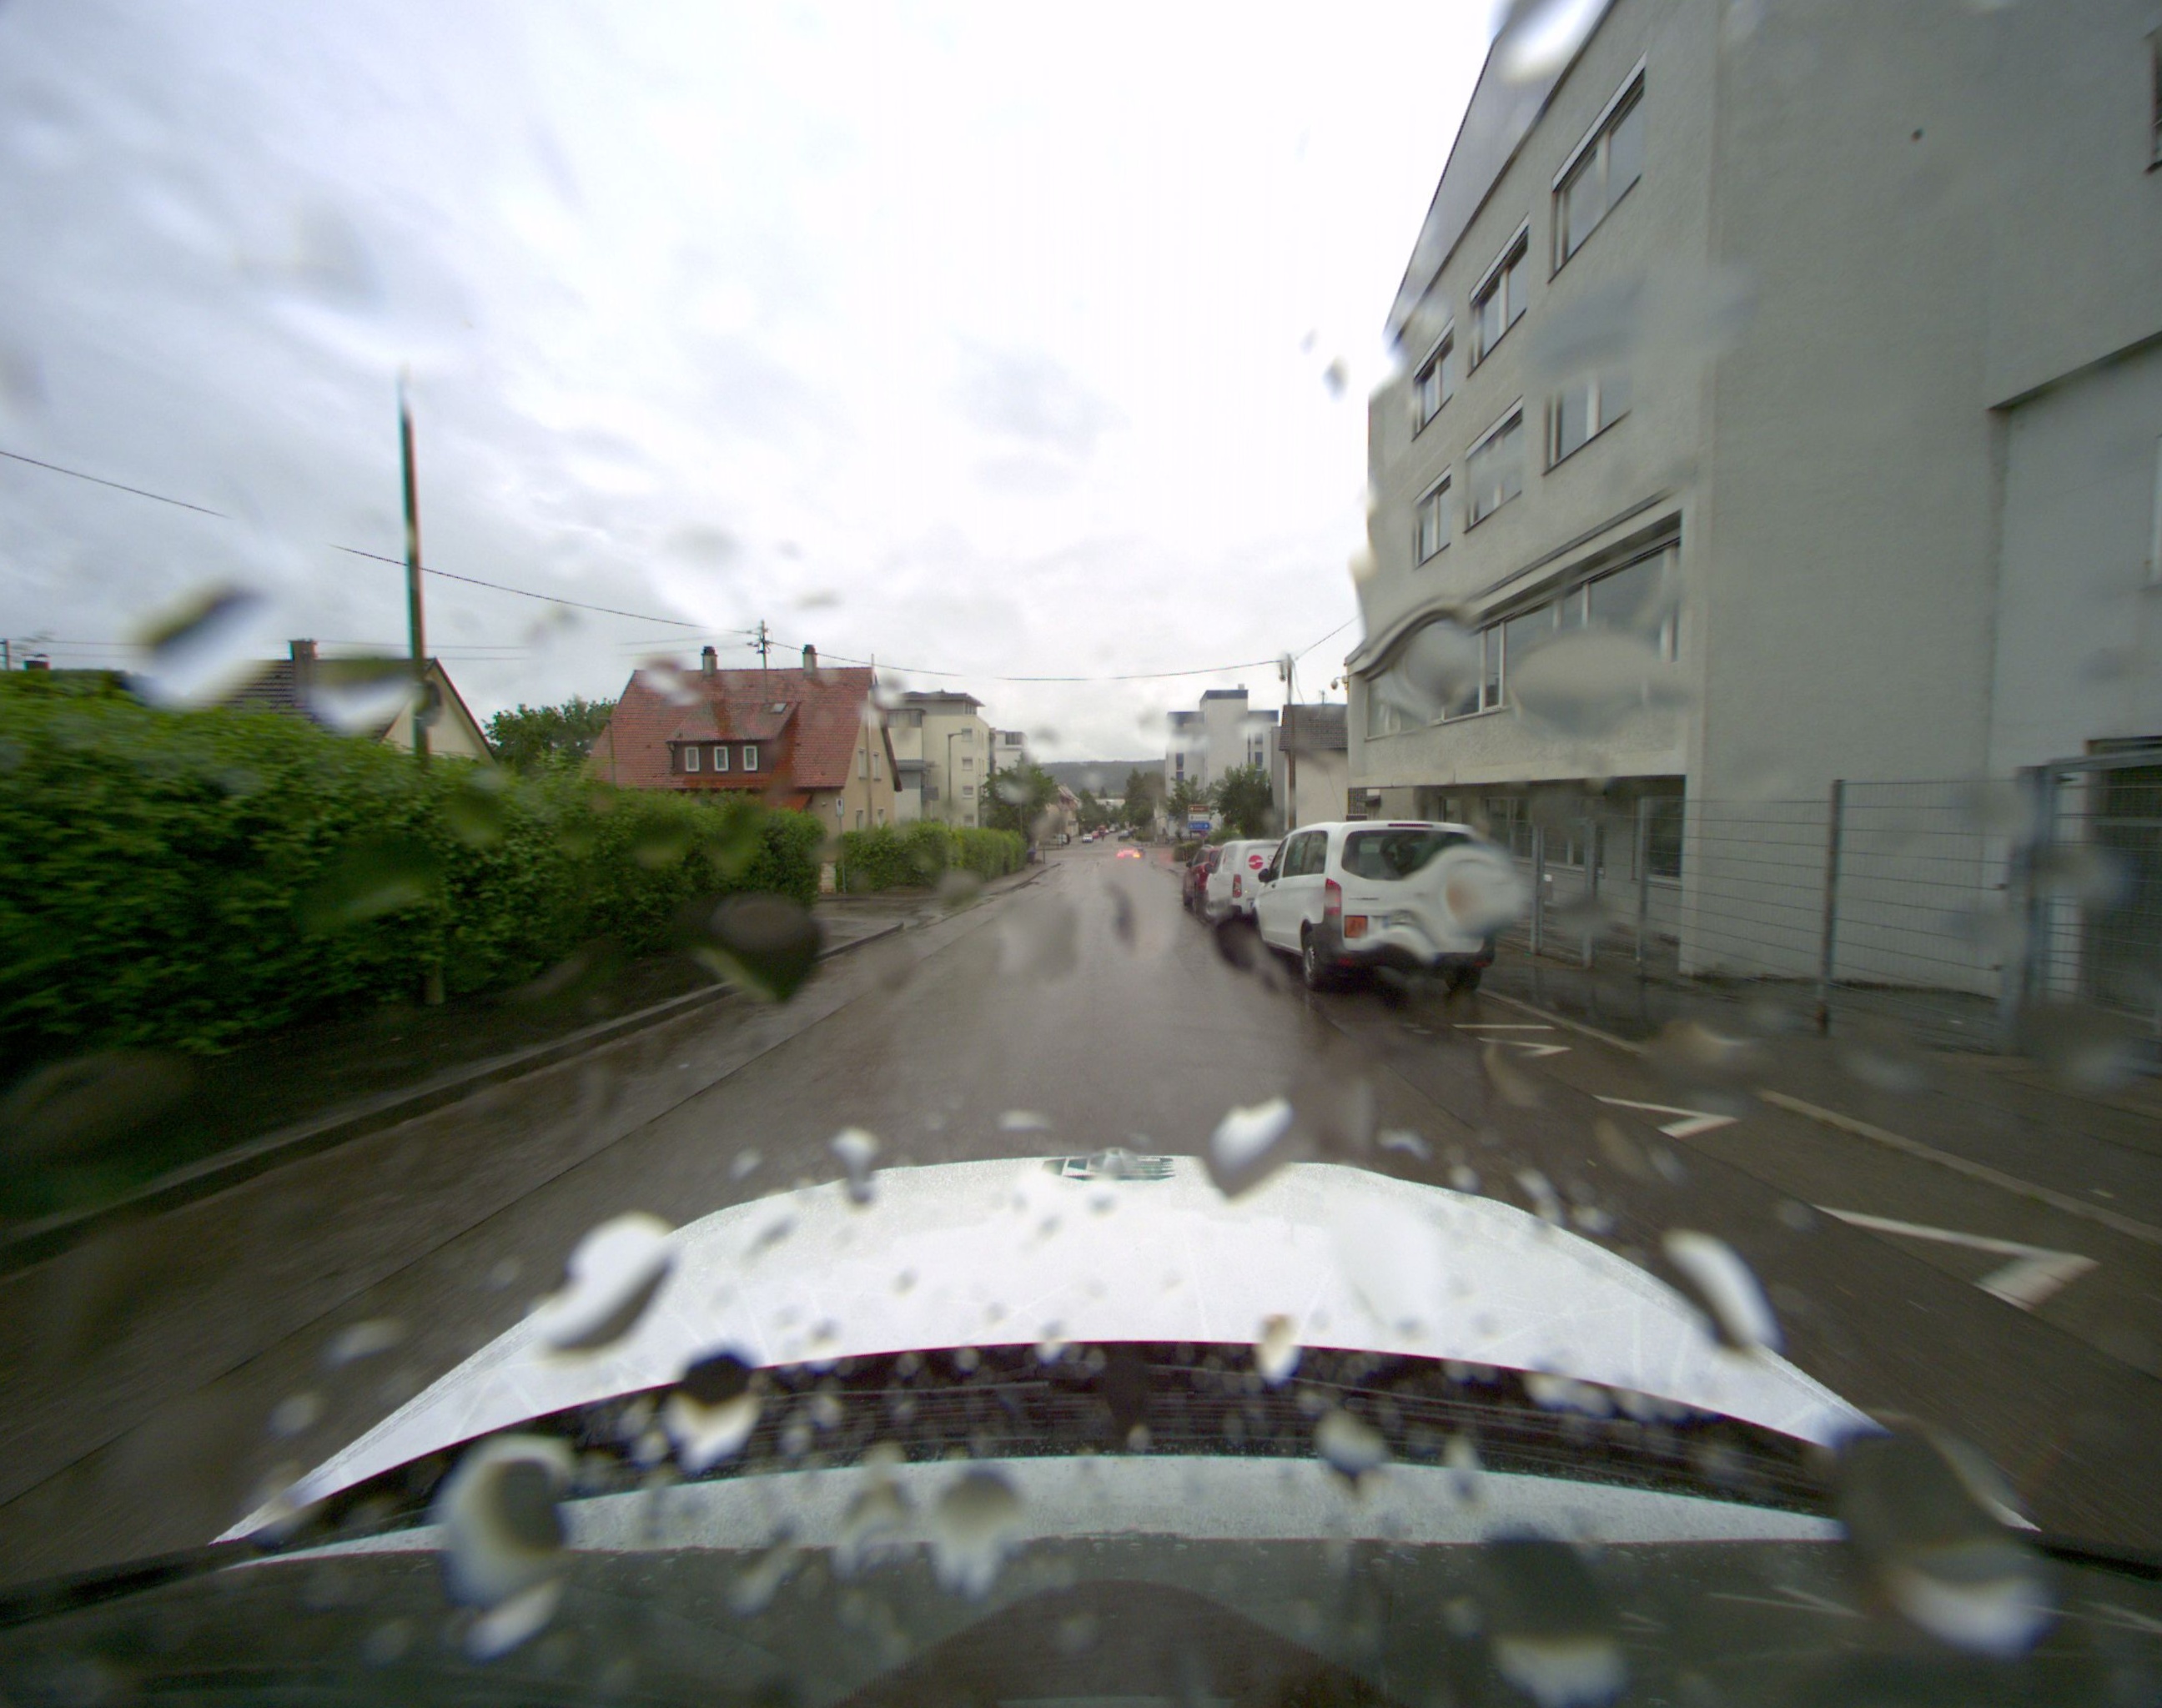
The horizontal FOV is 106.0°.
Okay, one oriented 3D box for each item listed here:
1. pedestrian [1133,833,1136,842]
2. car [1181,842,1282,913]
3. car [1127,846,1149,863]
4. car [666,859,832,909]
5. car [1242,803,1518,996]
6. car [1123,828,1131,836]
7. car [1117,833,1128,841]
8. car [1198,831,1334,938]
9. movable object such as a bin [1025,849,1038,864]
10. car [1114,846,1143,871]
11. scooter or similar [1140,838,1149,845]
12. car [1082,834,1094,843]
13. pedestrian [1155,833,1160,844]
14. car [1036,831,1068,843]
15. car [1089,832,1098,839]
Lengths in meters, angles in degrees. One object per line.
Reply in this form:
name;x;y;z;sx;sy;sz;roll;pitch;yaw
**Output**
pedestrian;11.473;-3.588;174.998;0.742;1.848;0.527;-1;0;5
car;3.867;0.531;21.772;1.986;1.644;4.961;-1;0;2
car;6.149;0.022;88.104;1.987;1.683;4.001;-2;2;0
car;-10.683;0.950;26.449;4.564;1.398;1.895;-1;1;2
car;3.530;0.444;10.764;1.986;1.935;4.979;-1;0;2
car;10.687;-5.046;188.627;1.894;1.745;4.195;-2;2;3
car;8.479;-3.508;166.714;2.137;1.589;4.132;-2;2;3
car;3.528;0.506;16.346;1.871;1.833;4.492;-1;0;2
movable object such as a bin;-4.431;0.231;73.055;1.068;1.347;1.319;1;1;0
car;3.587;0.295;62.482;1.987;1.683;4.001;-2;2;0
scooter or similar;9.640;-1.891;123.686;1.265;1.081;0.876;-2;2;-3
car;1.304;-2.954;153.260;1.985;1.625;4.195;-2;2;3
pedestrian;11.663;-2.319;124.958;0.646;1.647;0.525;2;1;-4
car;-4.709;-2.755;132.967;4.866;1.835;1.978;-3;2;-36
car;3.009;-4.334;189.694;1.894;1.558;4.195;-2;2;3
